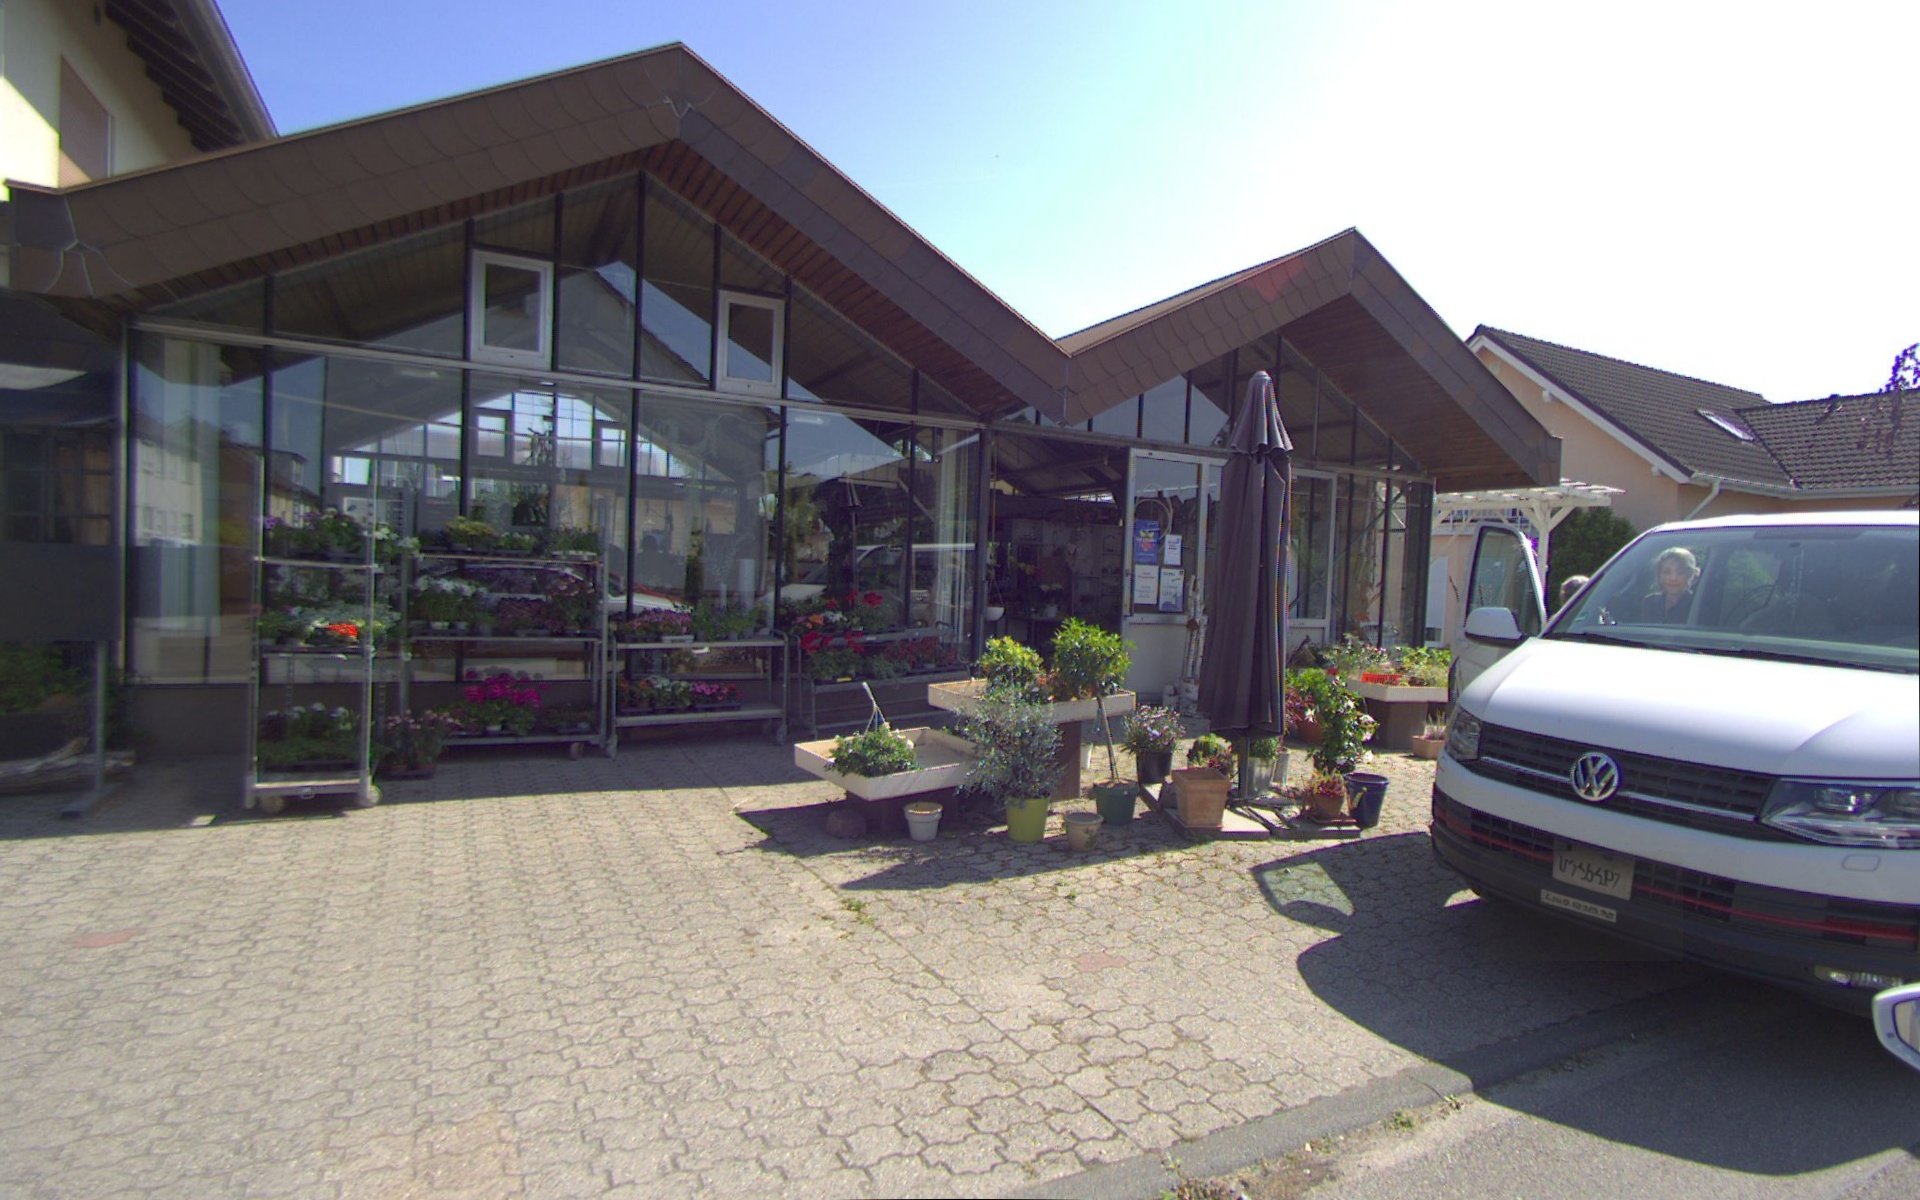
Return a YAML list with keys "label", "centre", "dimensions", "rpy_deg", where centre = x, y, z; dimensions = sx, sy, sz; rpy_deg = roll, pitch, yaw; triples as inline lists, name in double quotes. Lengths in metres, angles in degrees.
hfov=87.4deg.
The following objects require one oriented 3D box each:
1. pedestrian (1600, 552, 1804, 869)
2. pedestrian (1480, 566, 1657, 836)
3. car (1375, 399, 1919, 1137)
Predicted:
- label: "pedestrian"
  centre: [4.359, 0.611, 5.954]
  dimensions: [0.629, 1.754, 0.692]
  rpy_deg: [2, 2, 3]
- label: "pedestrian"
  centre: [3.747, 0.584, 6.244]
  dimensions: [0.629, 1.559, 0.720]
  rpy_deg: [2, 2, 6]
- label: "car"
  centre: [4.447, 0.497, 4.657]
  dimensions: [4.832, 2.041, 1.922]
  rpy_deg: [2, 1, -27]
